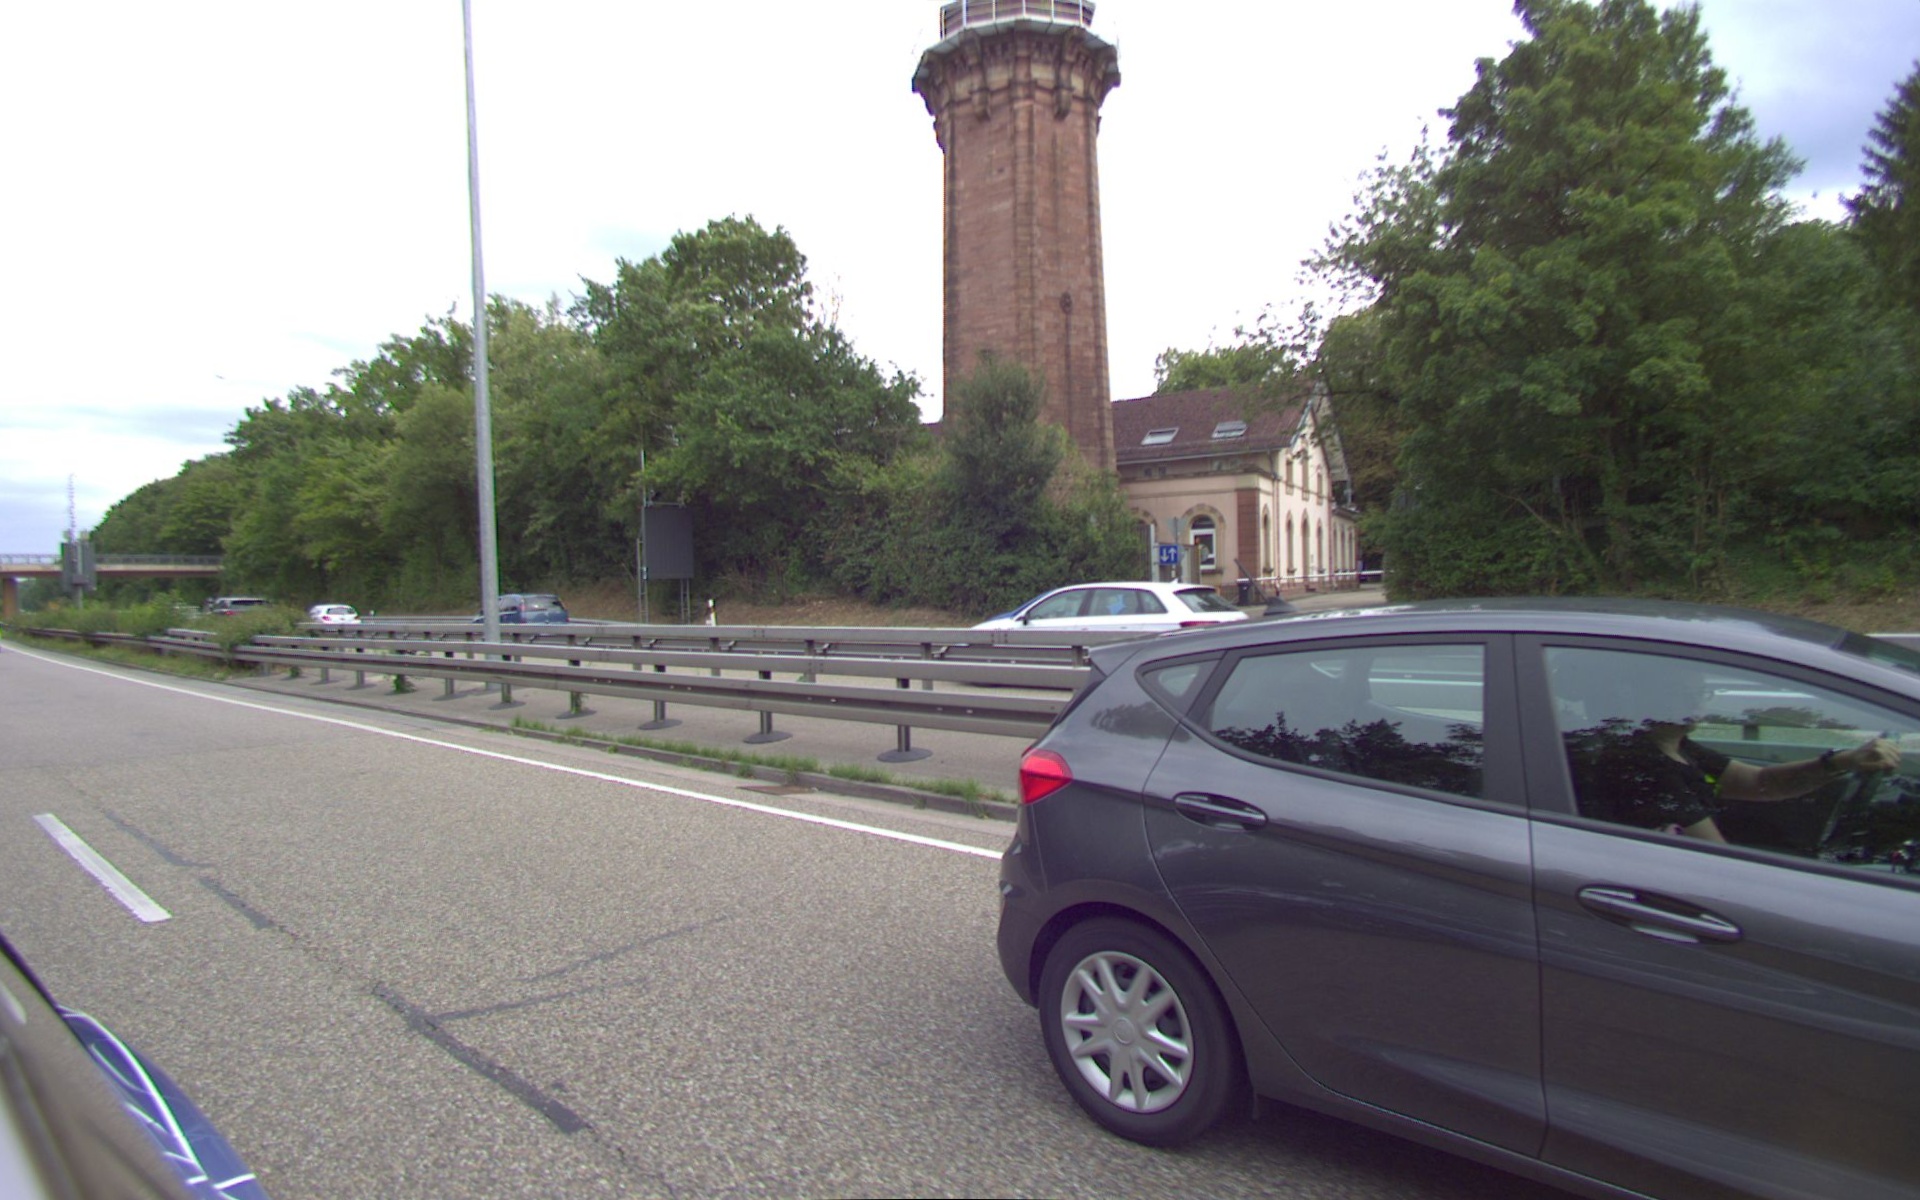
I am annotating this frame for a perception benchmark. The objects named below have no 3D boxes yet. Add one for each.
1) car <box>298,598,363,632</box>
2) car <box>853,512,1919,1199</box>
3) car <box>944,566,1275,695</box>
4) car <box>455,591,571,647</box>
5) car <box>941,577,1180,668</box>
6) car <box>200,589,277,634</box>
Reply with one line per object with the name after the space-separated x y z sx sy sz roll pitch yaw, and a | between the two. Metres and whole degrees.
-29.213 0.696 46.897 3.727 1.519 1.611 -1 -1 42 | car
1.962 0.599 2.408 4.639 1.469 1.806 -1 -1 43 | car
1.854 0.360 13.311 4.054 1.437 1.694 -1 -1 41 | car
-13.884 0.577 31.355 4.129 1.613 1.713 -1 -1 41 | car
1.751 0.383 18.393 4.054 1.461 1.793 -1 -1 41 | car
-30.383 0.480 42.581 4.541 1.782 1.742 -1 -1 43 | car
